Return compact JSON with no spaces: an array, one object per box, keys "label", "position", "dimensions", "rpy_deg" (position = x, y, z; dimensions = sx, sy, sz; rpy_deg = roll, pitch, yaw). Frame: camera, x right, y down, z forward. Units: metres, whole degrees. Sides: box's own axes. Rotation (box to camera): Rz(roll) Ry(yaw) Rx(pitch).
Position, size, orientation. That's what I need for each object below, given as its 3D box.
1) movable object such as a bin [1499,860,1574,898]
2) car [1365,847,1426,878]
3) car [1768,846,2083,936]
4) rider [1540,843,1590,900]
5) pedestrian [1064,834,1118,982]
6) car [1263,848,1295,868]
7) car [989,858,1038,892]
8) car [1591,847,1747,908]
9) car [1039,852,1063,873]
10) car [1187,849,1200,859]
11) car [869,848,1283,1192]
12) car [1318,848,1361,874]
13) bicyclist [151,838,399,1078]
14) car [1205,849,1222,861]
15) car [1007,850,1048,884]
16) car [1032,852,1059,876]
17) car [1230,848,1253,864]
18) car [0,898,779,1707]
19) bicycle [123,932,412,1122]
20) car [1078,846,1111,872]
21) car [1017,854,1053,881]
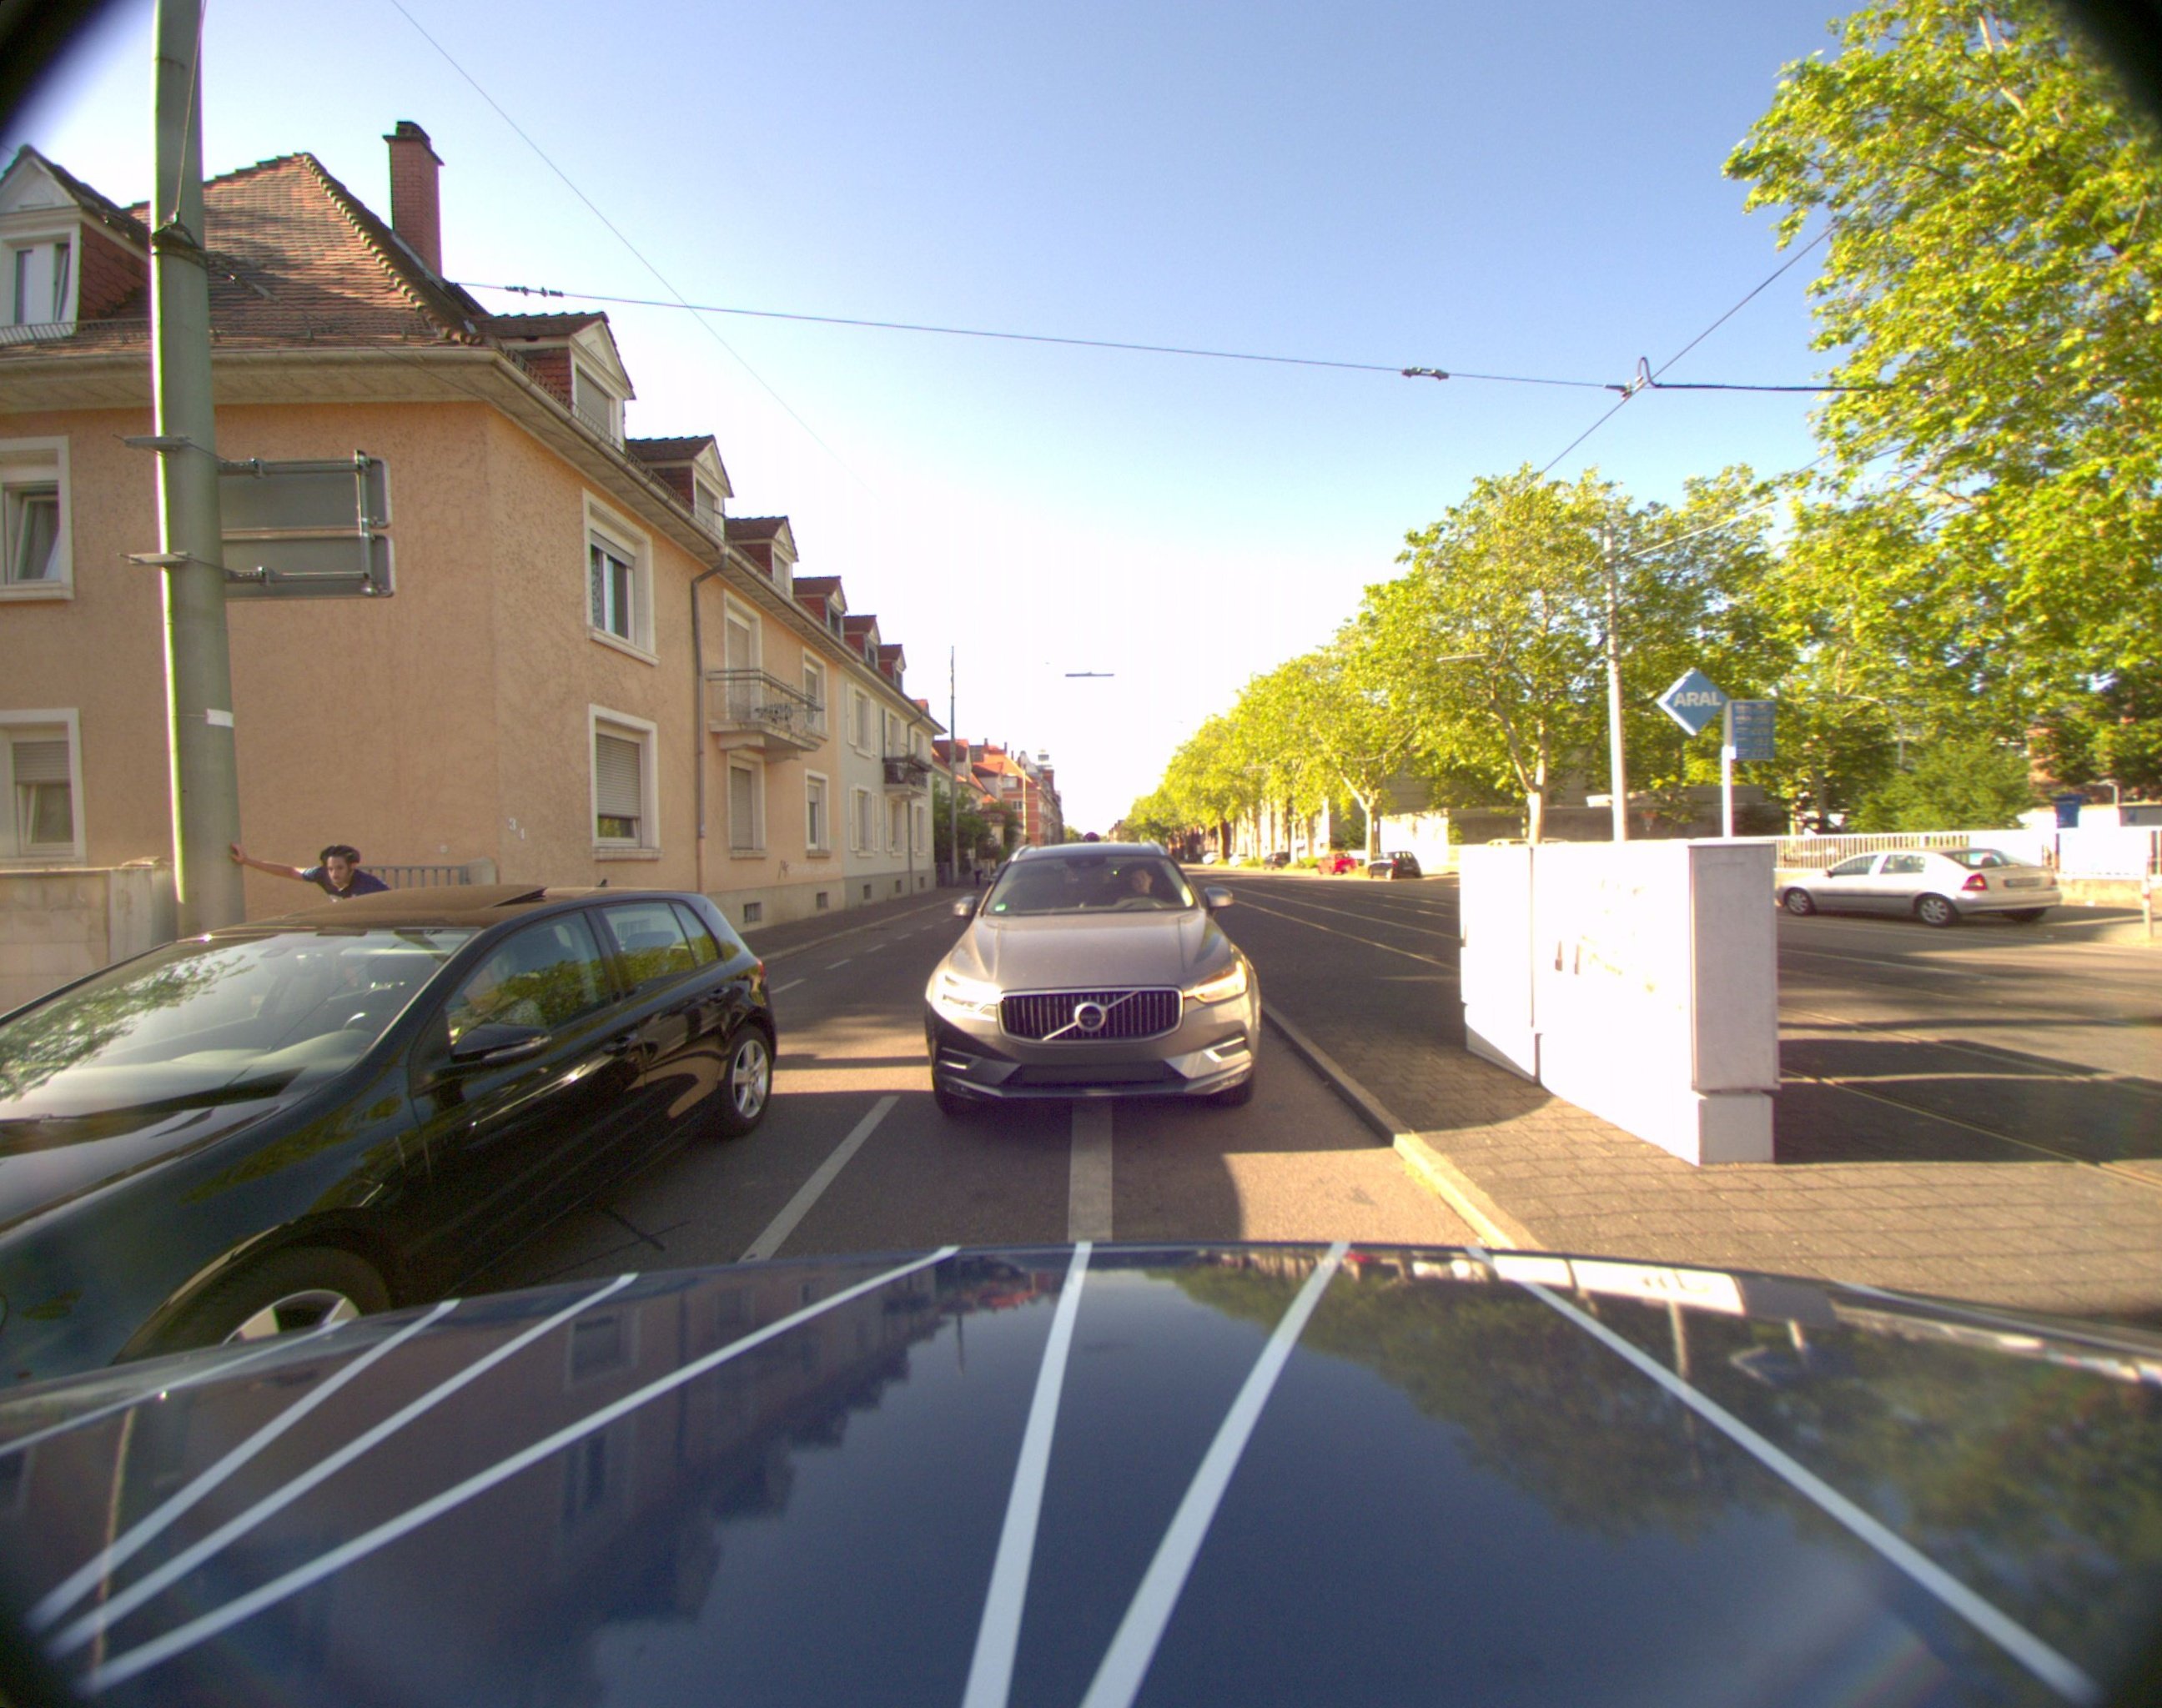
[{"label":"movable object such as a bin","position":[14.389,0.765,24.071],"dimensions":[1.178,1.097,1.834],"rpy_deg":[-2,1,-4]},{"label":"car","position":[16.834,0.444,40.832],"dimensions":[1.723,1.436,3.769],"rpy_deg":[-5,1,3]},{"label":"car","position":[16.196,0.629,14.950],"dimensions":[1.687,1.358,3.989],"rpy_deg":[-6,0,1]},{"label":"rider","position":[14.508,0.506,22.800],"dimensions":[0.725,1.639,1.106],"rpy_deg":[-2,1,-4]},{"label":"pedestrian","position":[0.128,0.675,9.792],"dimensions":[0.609,1.832,0.599],"rpy_deg":[-2,1,1]},{"label":"car","position":[17.151,0.313,65.907],"dimensions":[1.754,1.582,3.878],"rpy_deg":[-5,1,3]},{"label":"car","position":[-3.234,0.962,37.136],"dimensions":[1.825,1.422,4.334],"rpy_deg":[-2,1,1]},{"label":"car","position":[16.391,0.596,21.423],"dimensions":[1.619,1.436,3.606],"rpy_deg":[-5,1,3]},{"label":"car","position":[-2.598,0.692,67.276],"dimensions":[1.825,1.701,4.334],"rpy_deg":[-2,1,1]},{"label":"car","position":[18.550,0.050,125.554],"dimensions":[1.661,1.452,3.730],"rpy_deg":[-5,1,3]},{"label":"car","position":[0.128,0.798,5.814],"dimensions":[1.924,1.579,4.387],"rpy_deg":[-2,1,4]},{"label":"car","position":[16.945,0.455,49.943],"dimensions":[1.661,1.486,3.377],"rpy_deg":[-5,1,3]},{"label":"bicyclist","position":[-6.062,0.752,5.779],"dimensions":[1.021,1.684,0.729],"rpy_deg":[2,0,-7]},{"label":"car","position":[17.571,0.094,100.678],"dimensions":[1.661,1.452,3.730],"rpy_deg":[-5,1,3]},{"label":"car","position":[-2.910,0.687,42.391],"dimensions":[1.825,1.701,4.334],"rpy_deg":[-2,1,1]},{"label":"car","position":[-2.786,0.770,60.910],"dimensions":[1.825,1.701,4.334],"rpy_deg":[-2,1,1]},{"label":"car","position":[17.616,0.240,83.464],"dimensions":[1.754,1.532,3.878],"rpy_deg":[-5,1,3]},{"label":"car","position":[-2.796,1.044,2.744],"dimensions":[1.717,1.430,3.990],"rpy_deg":[-2,1,1]},{"label":"bicycle","position":[-6.043,1.224,5.791],"dimensions":[0.556,1.069,1.624],"rpy_deg":[2,0,-7]},{"label":"car","position":[0.886,0.302,46.305],"dimensions":[1.825,1.422,4.491],"rpy_deg":[-2,-1,3]},{"label":"car","position":[-2.778,0.797,46.929],"dimensions":[1.825,1.424,4.334],"rpy_deg":[-2,1,1]}]
